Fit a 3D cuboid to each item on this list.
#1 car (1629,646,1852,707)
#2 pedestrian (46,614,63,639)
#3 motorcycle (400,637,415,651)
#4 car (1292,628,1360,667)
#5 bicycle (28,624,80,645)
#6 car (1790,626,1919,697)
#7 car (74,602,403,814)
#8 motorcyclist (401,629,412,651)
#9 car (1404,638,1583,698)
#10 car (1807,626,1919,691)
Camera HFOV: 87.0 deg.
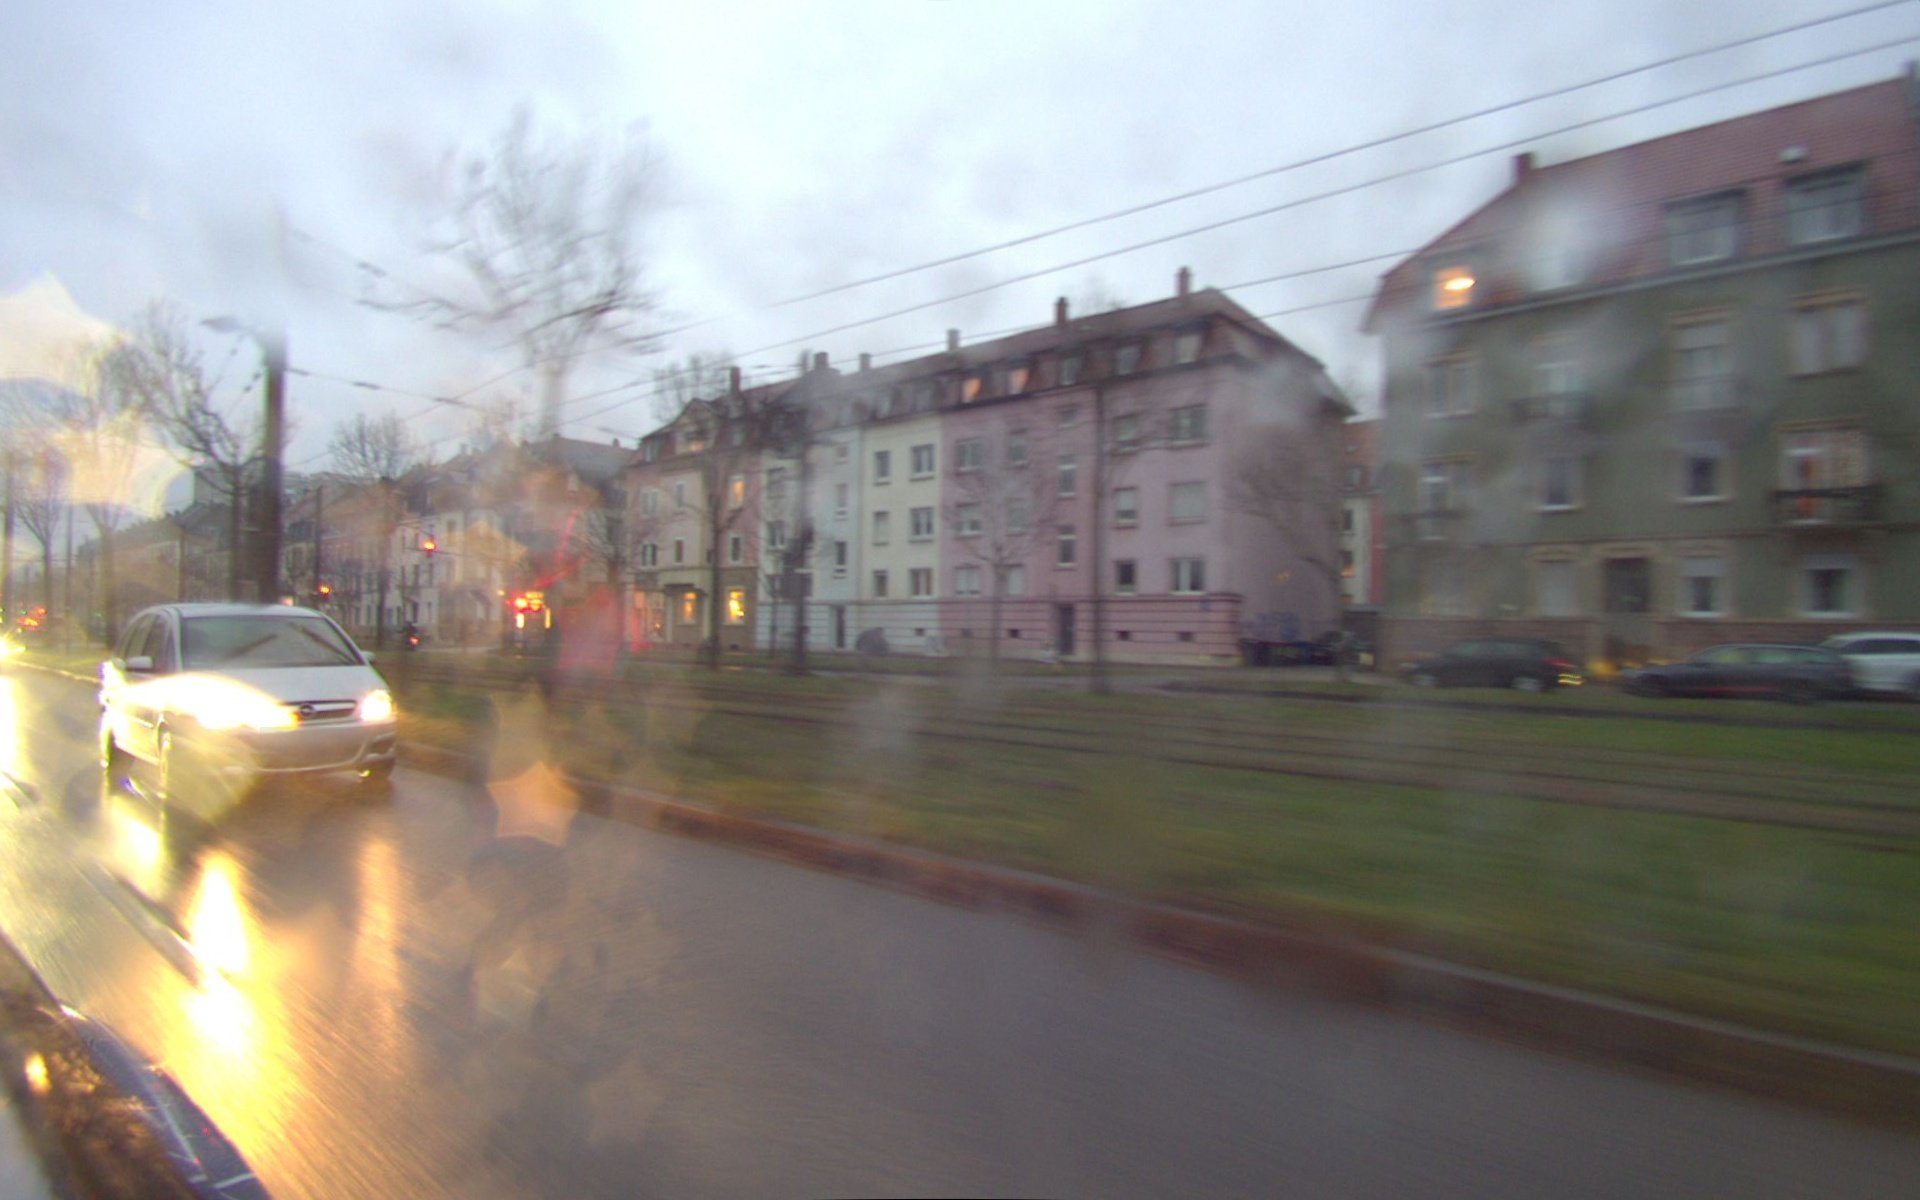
[{"bbox_3d":[17.530,1.682,22.920,3.894,1.177,1.218,-1,0,38],"label":"car"},{"bbox_3d":[-42.171,1.241,47.134,0.582,1.165,0.555,-1,-1,44],"label":"pedestrian"},{"bbox_3d":[-27.640,2.205,50.602,0.416,0.688,1.177,0,0,-42],"label":"motorcycle"},{"bbox_3d":[16.019,2.036,44.244,1.611,1.555,3.317,-1,0,43],"label":"car"},{"bbox_3d":[-42.187,1.624,47.138,0.733,0.905,1.703,0,-3,41],"label":"bicycle"},{"bbox_3d":[21.957,1.432,23.939,3.537,1.563,1.662,-1,0,42],"label":"car"},{"bbox_3d":[-6.723,0.805,9.273,3.906,1.531,1.617,-1,0,41],"label":"car"},{"bbox_3d":[-27.735,2.009,50.680,0.410,1.069,0.346,0,-1,-42],"label":"motorcyclist"},{"bbox_3d":[13.900,1.715,26.492,3.911,1.350,1.449,-1,0,44],"label":"car"},{"bbox_3d":[23.654,1.468,25.668,3.268,1.541,1.593,-1,0,42],"label":"car"}]
